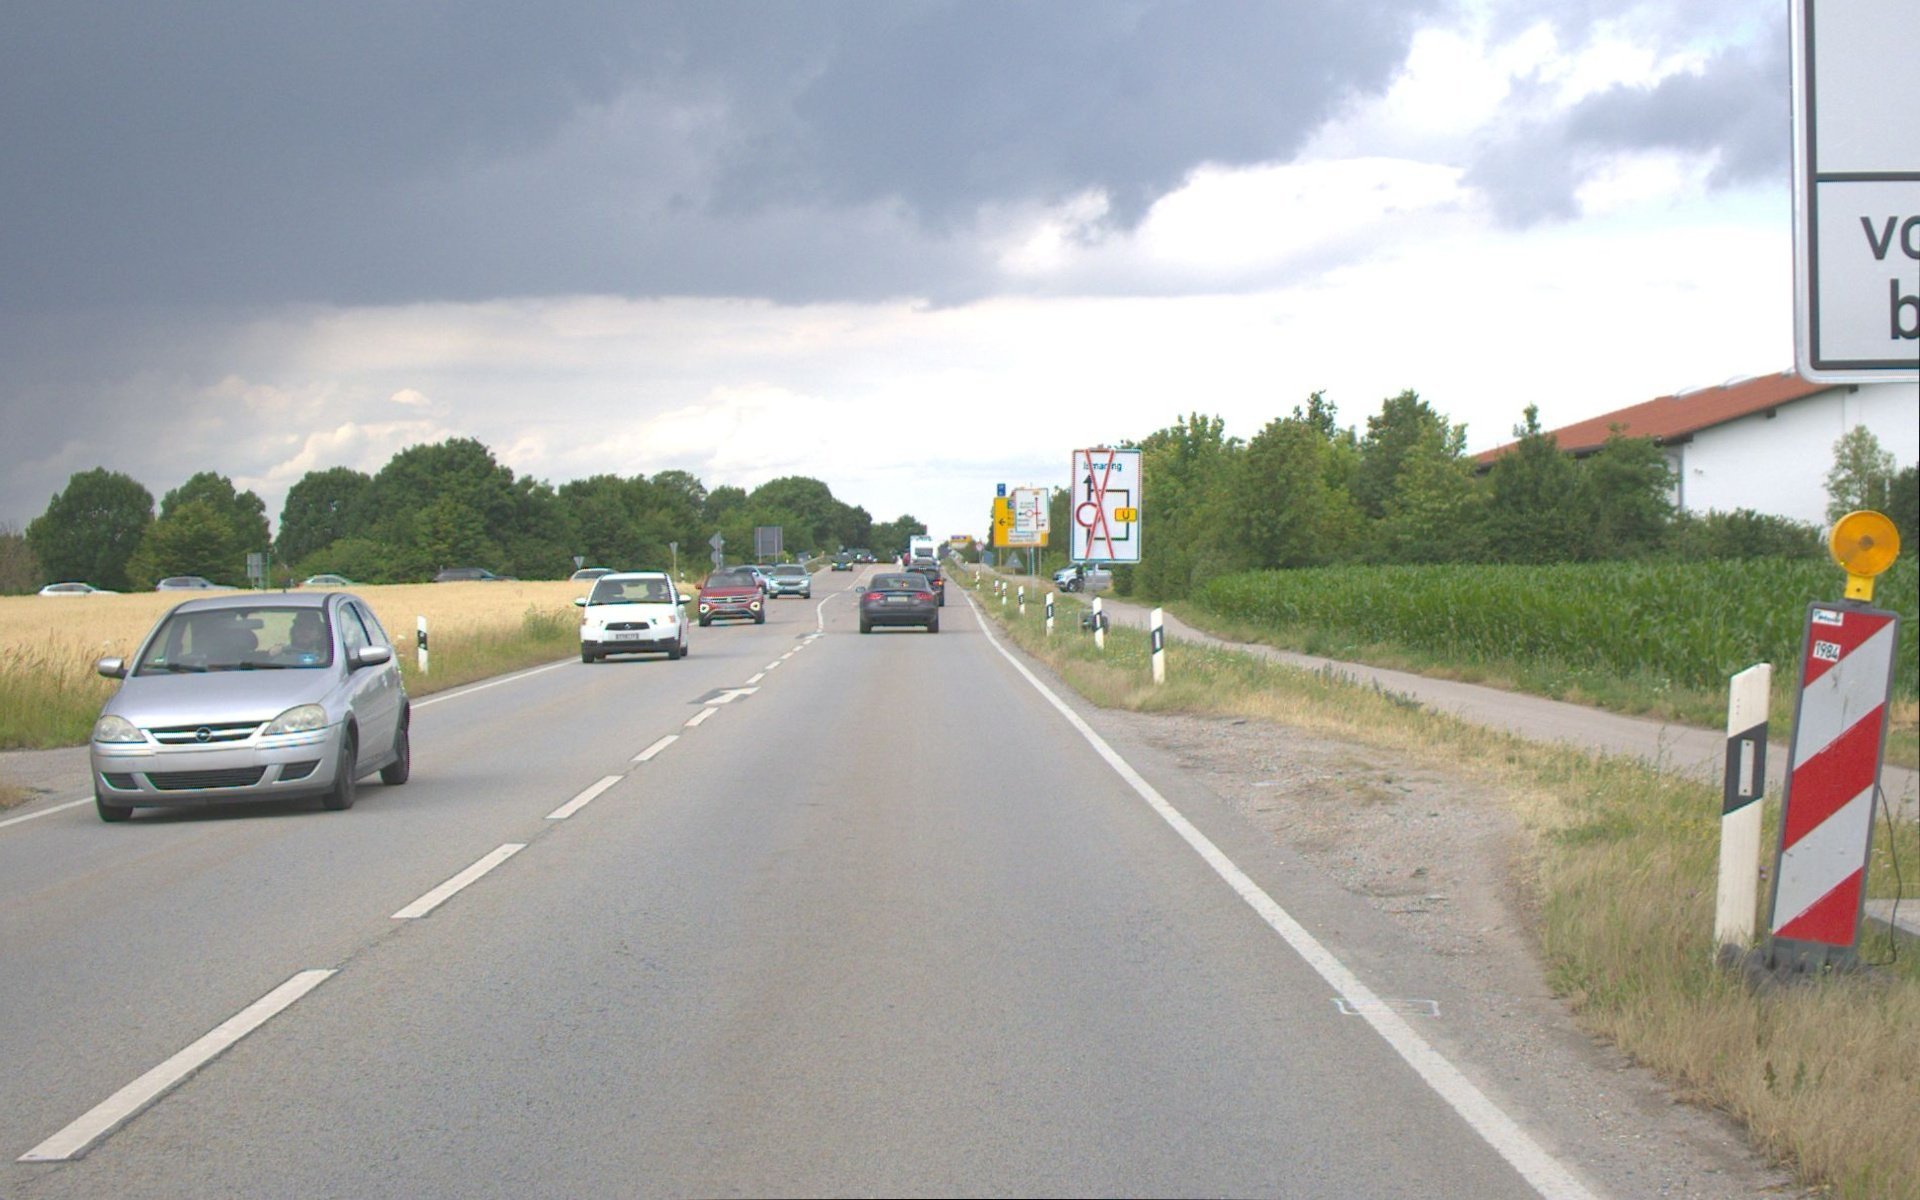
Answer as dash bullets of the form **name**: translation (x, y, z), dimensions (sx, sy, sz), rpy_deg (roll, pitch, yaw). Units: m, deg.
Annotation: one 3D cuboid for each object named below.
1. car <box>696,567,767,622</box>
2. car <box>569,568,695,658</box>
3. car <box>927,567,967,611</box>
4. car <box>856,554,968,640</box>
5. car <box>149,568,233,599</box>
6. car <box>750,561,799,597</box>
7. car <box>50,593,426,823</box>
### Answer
- **car**: translation (-6.456, -0.173, 97.391), dimensions (1.712, 1.483, 4.608), rpy_deg (-1, 1, -1)
- **car**: translation (-5.619, 0.194, 59.299), dimensions (1.806, 1.451, 4.114), rpy_deg (-1, 1, -1)
- **car**: translation (-0.535, -0.452, 137.916), dimensions (1.571, 1.695, 4.000), rpy_deg (-1, 0, 0)
- **car**: translation (-1.158, -0.087, 80.495), dimensions (2.371, 1.874, 4.478), rpy_deg (-2, 0, -3)
- **car**: translation (-41.994, -0.904, 187.746), dimensions (4.072, 1.643, 1.866), rpy_deg (-1, 0, 4)
- **car**: translation (-8.680, -1.013, 161.052), dimensions (2.065, 1.575, 4.765), rpy_deg (-2, 1, -1)
- **car**: translation (-4.785, 0.668, 23.298), dimensions (1.728, 1.359, 3.950), rpy_deg (-1, 1, -1)
